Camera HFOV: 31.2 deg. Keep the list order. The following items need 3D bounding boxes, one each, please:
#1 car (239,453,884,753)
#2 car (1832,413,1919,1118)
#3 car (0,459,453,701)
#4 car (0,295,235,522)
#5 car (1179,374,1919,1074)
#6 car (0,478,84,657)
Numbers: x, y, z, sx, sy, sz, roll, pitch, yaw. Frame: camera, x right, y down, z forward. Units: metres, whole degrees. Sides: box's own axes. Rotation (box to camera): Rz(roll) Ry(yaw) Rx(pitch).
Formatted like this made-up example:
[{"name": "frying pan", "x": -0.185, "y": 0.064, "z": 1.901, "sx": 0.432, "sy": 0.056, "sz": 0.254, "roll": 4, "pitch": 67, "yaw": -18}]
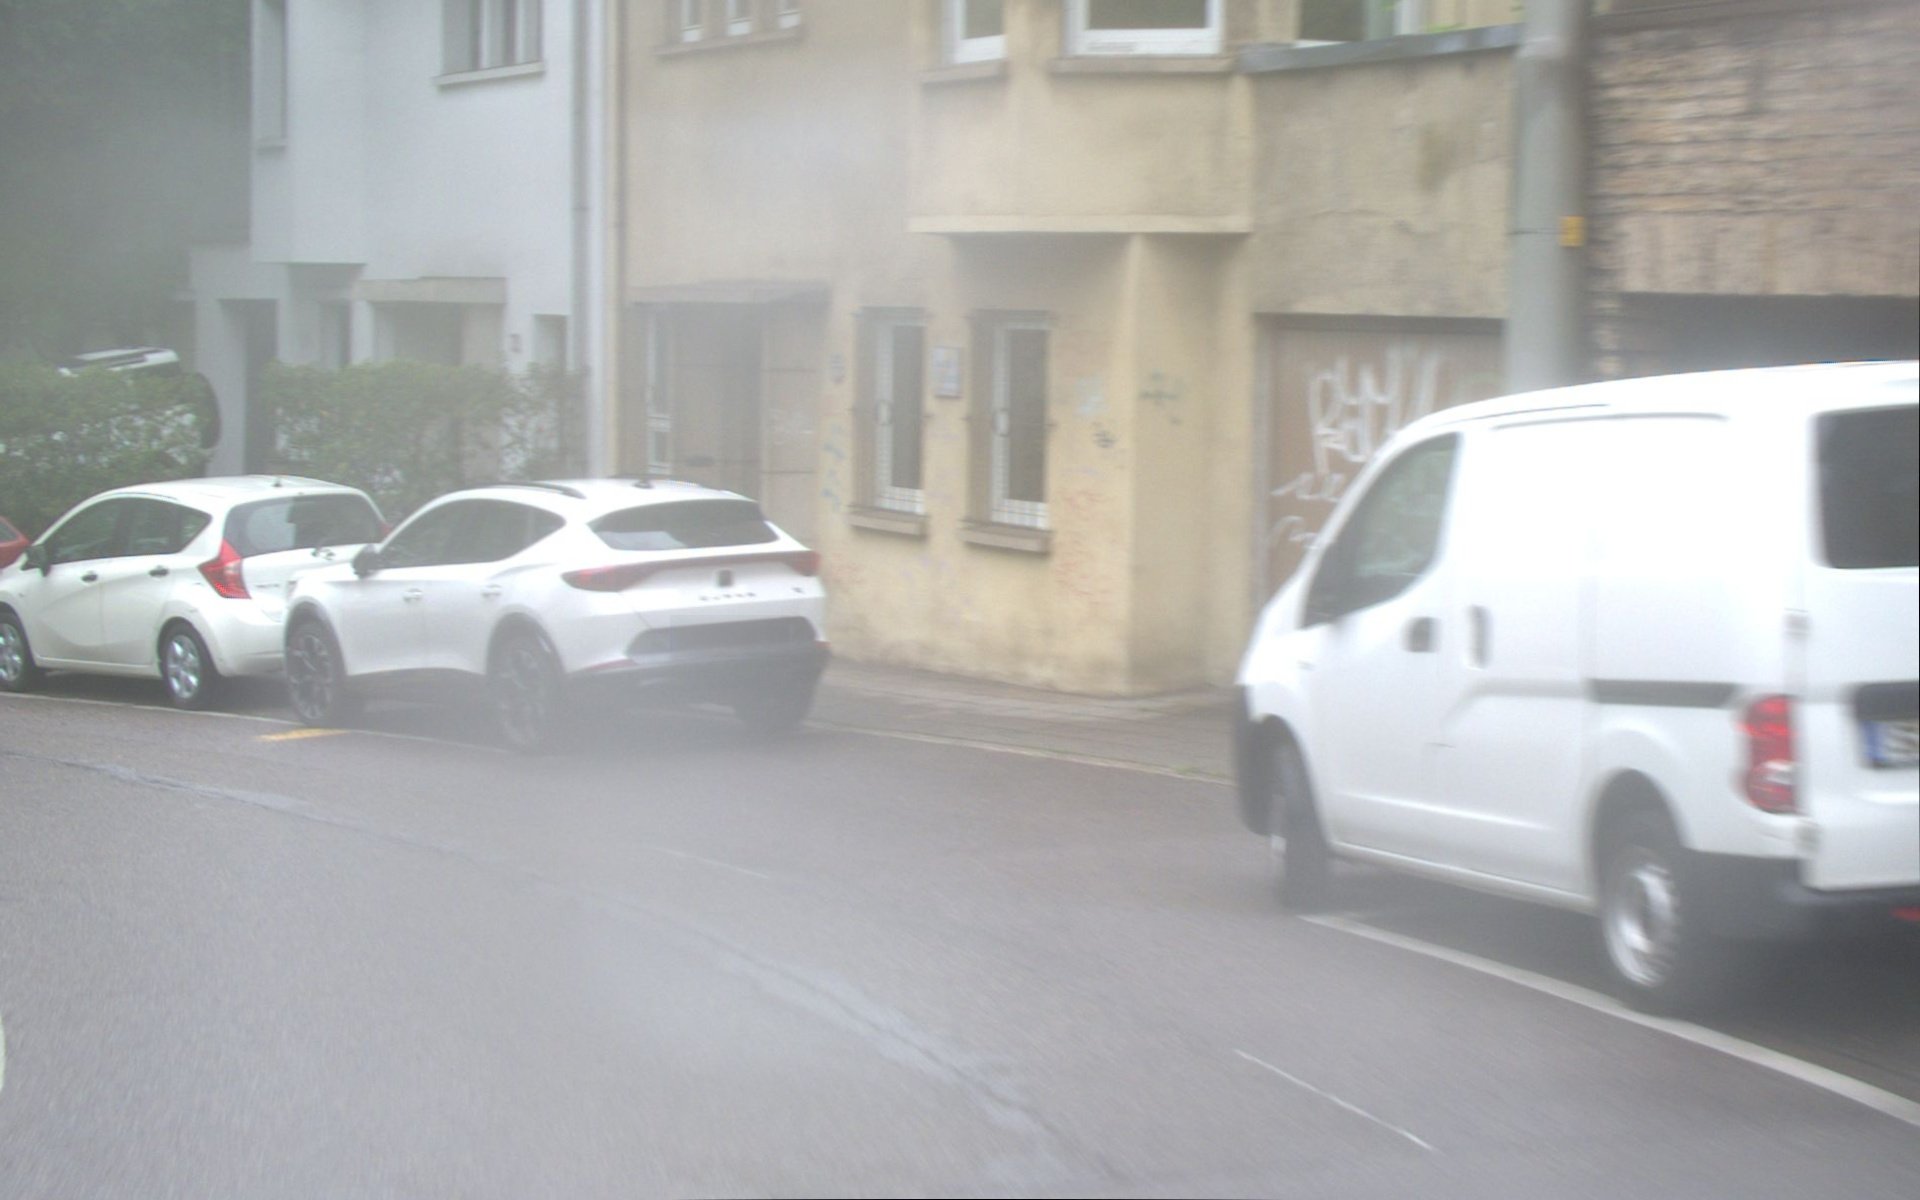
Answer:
[{"name": "car", "x": -2.523, "y": -0.041, "z": 20.772, "sx": 1.914, "sy": 1.533, "sz": 4.414, "roll": -5, "pitch": 4, "yaw": -35}, {"name": "car", "x": 3.278, "y": 0.444, "z": 6.204, "sx": 1.614, "sy": 1.599, "sz": 4.413, "roll": -1, "pitch": 3, "yaw": -10}, {"name": "car", "x": -5.448, "y": -0.172, "z": 24.484, "sx": 1.766, "sy": 1.509, "sz": 3.821, "roll": -5, "pitch": 4, "yaw": -41}, {"name": "car", "x": -9.841, "y": -1.765, "z": 34.585, "sx": 4.397, "sy": 1.835, "sz": 2.001, "roll": -13, "pitch": 9, "yaw": -24}, {"name": "car", "x": 2.302, "y": 0.201, "z": 11.142, "sx": 1.705, "sy": 1.784, "sz": 4.328, "roll": -3, "pitch": 3, "yaw": -17}, {"name": "car", "x": -9.236, "y": -0.216, "z": 27.951, "sx": 4.191, "sy": 1.362, "sz": 1.782, "roll": 0, "pitch": 4, "yaw": 37}]
